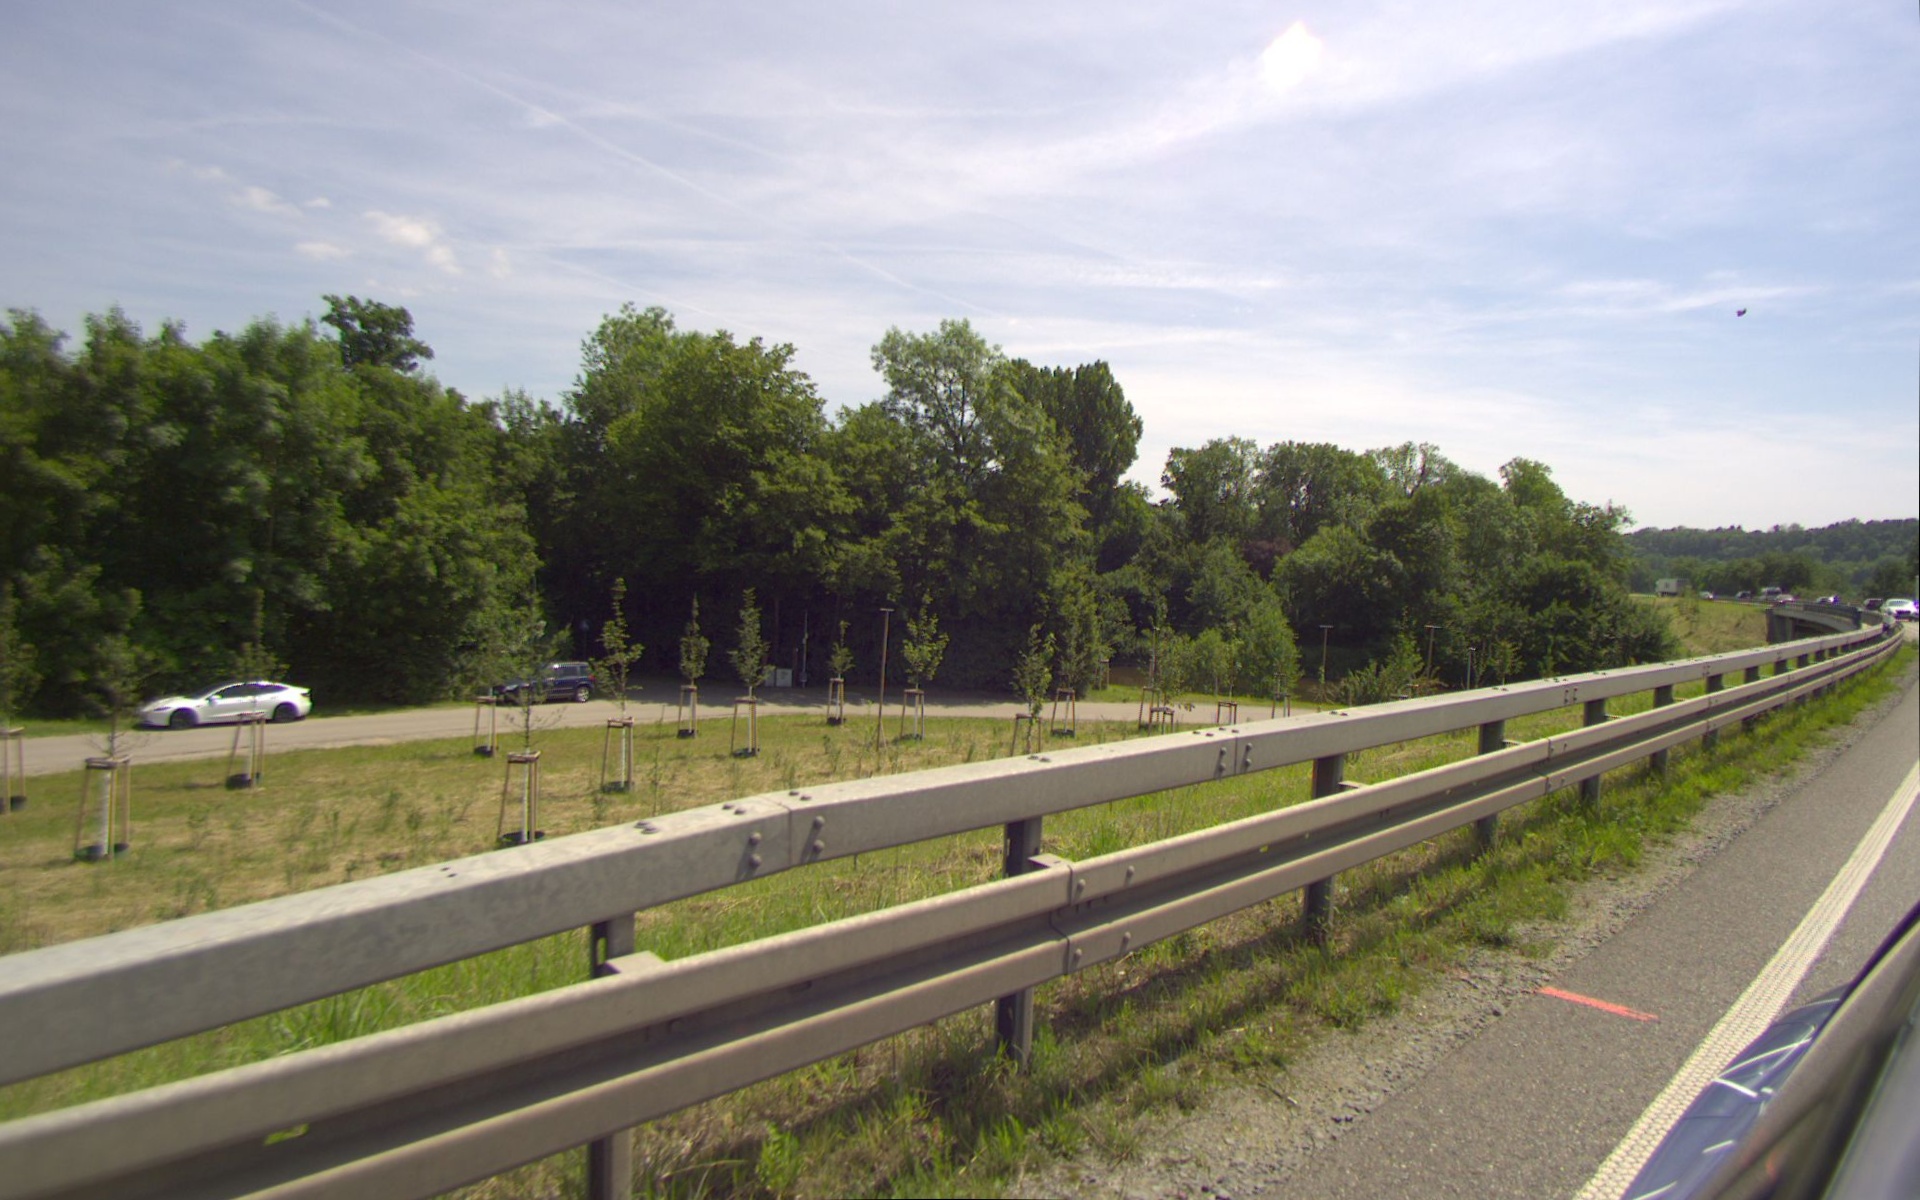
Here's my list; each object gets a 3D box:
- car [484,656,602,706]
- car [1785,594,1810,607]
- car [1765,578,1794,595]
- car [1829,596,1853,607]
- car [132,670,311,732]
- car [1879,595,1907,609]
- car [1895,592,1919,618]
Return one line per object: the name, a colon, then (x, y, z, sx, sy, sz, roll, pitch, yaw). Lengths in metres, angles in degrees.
car: (-17.444, 3.334, 42.432, 1.858, 1.702, 4.134, 6, 3, 43)
car: (111.600, 0.051, 134.887, 1.965, 1.754, 3.958, 1, 1, 30)
car: (131.469, -2.147, 162.365, 2.163, 2.591, 5.749, 0, 1, 25)
car: (115.629, 0.171, 132.918, 1.714, 1.453, 4.563, 1, 1, 33)
car: (-24.714, 3.319, 34.007, 1.857, 1.500, 4.540, 6, 3, 40)
car: (104.003, 0.255, 112.839, 1.716, 1.501, 4.510, 1, 1, 36)
car: (71.585, 0.365, 75.711, 1.971, 1.811, 3.947, 0, 2, 37)
